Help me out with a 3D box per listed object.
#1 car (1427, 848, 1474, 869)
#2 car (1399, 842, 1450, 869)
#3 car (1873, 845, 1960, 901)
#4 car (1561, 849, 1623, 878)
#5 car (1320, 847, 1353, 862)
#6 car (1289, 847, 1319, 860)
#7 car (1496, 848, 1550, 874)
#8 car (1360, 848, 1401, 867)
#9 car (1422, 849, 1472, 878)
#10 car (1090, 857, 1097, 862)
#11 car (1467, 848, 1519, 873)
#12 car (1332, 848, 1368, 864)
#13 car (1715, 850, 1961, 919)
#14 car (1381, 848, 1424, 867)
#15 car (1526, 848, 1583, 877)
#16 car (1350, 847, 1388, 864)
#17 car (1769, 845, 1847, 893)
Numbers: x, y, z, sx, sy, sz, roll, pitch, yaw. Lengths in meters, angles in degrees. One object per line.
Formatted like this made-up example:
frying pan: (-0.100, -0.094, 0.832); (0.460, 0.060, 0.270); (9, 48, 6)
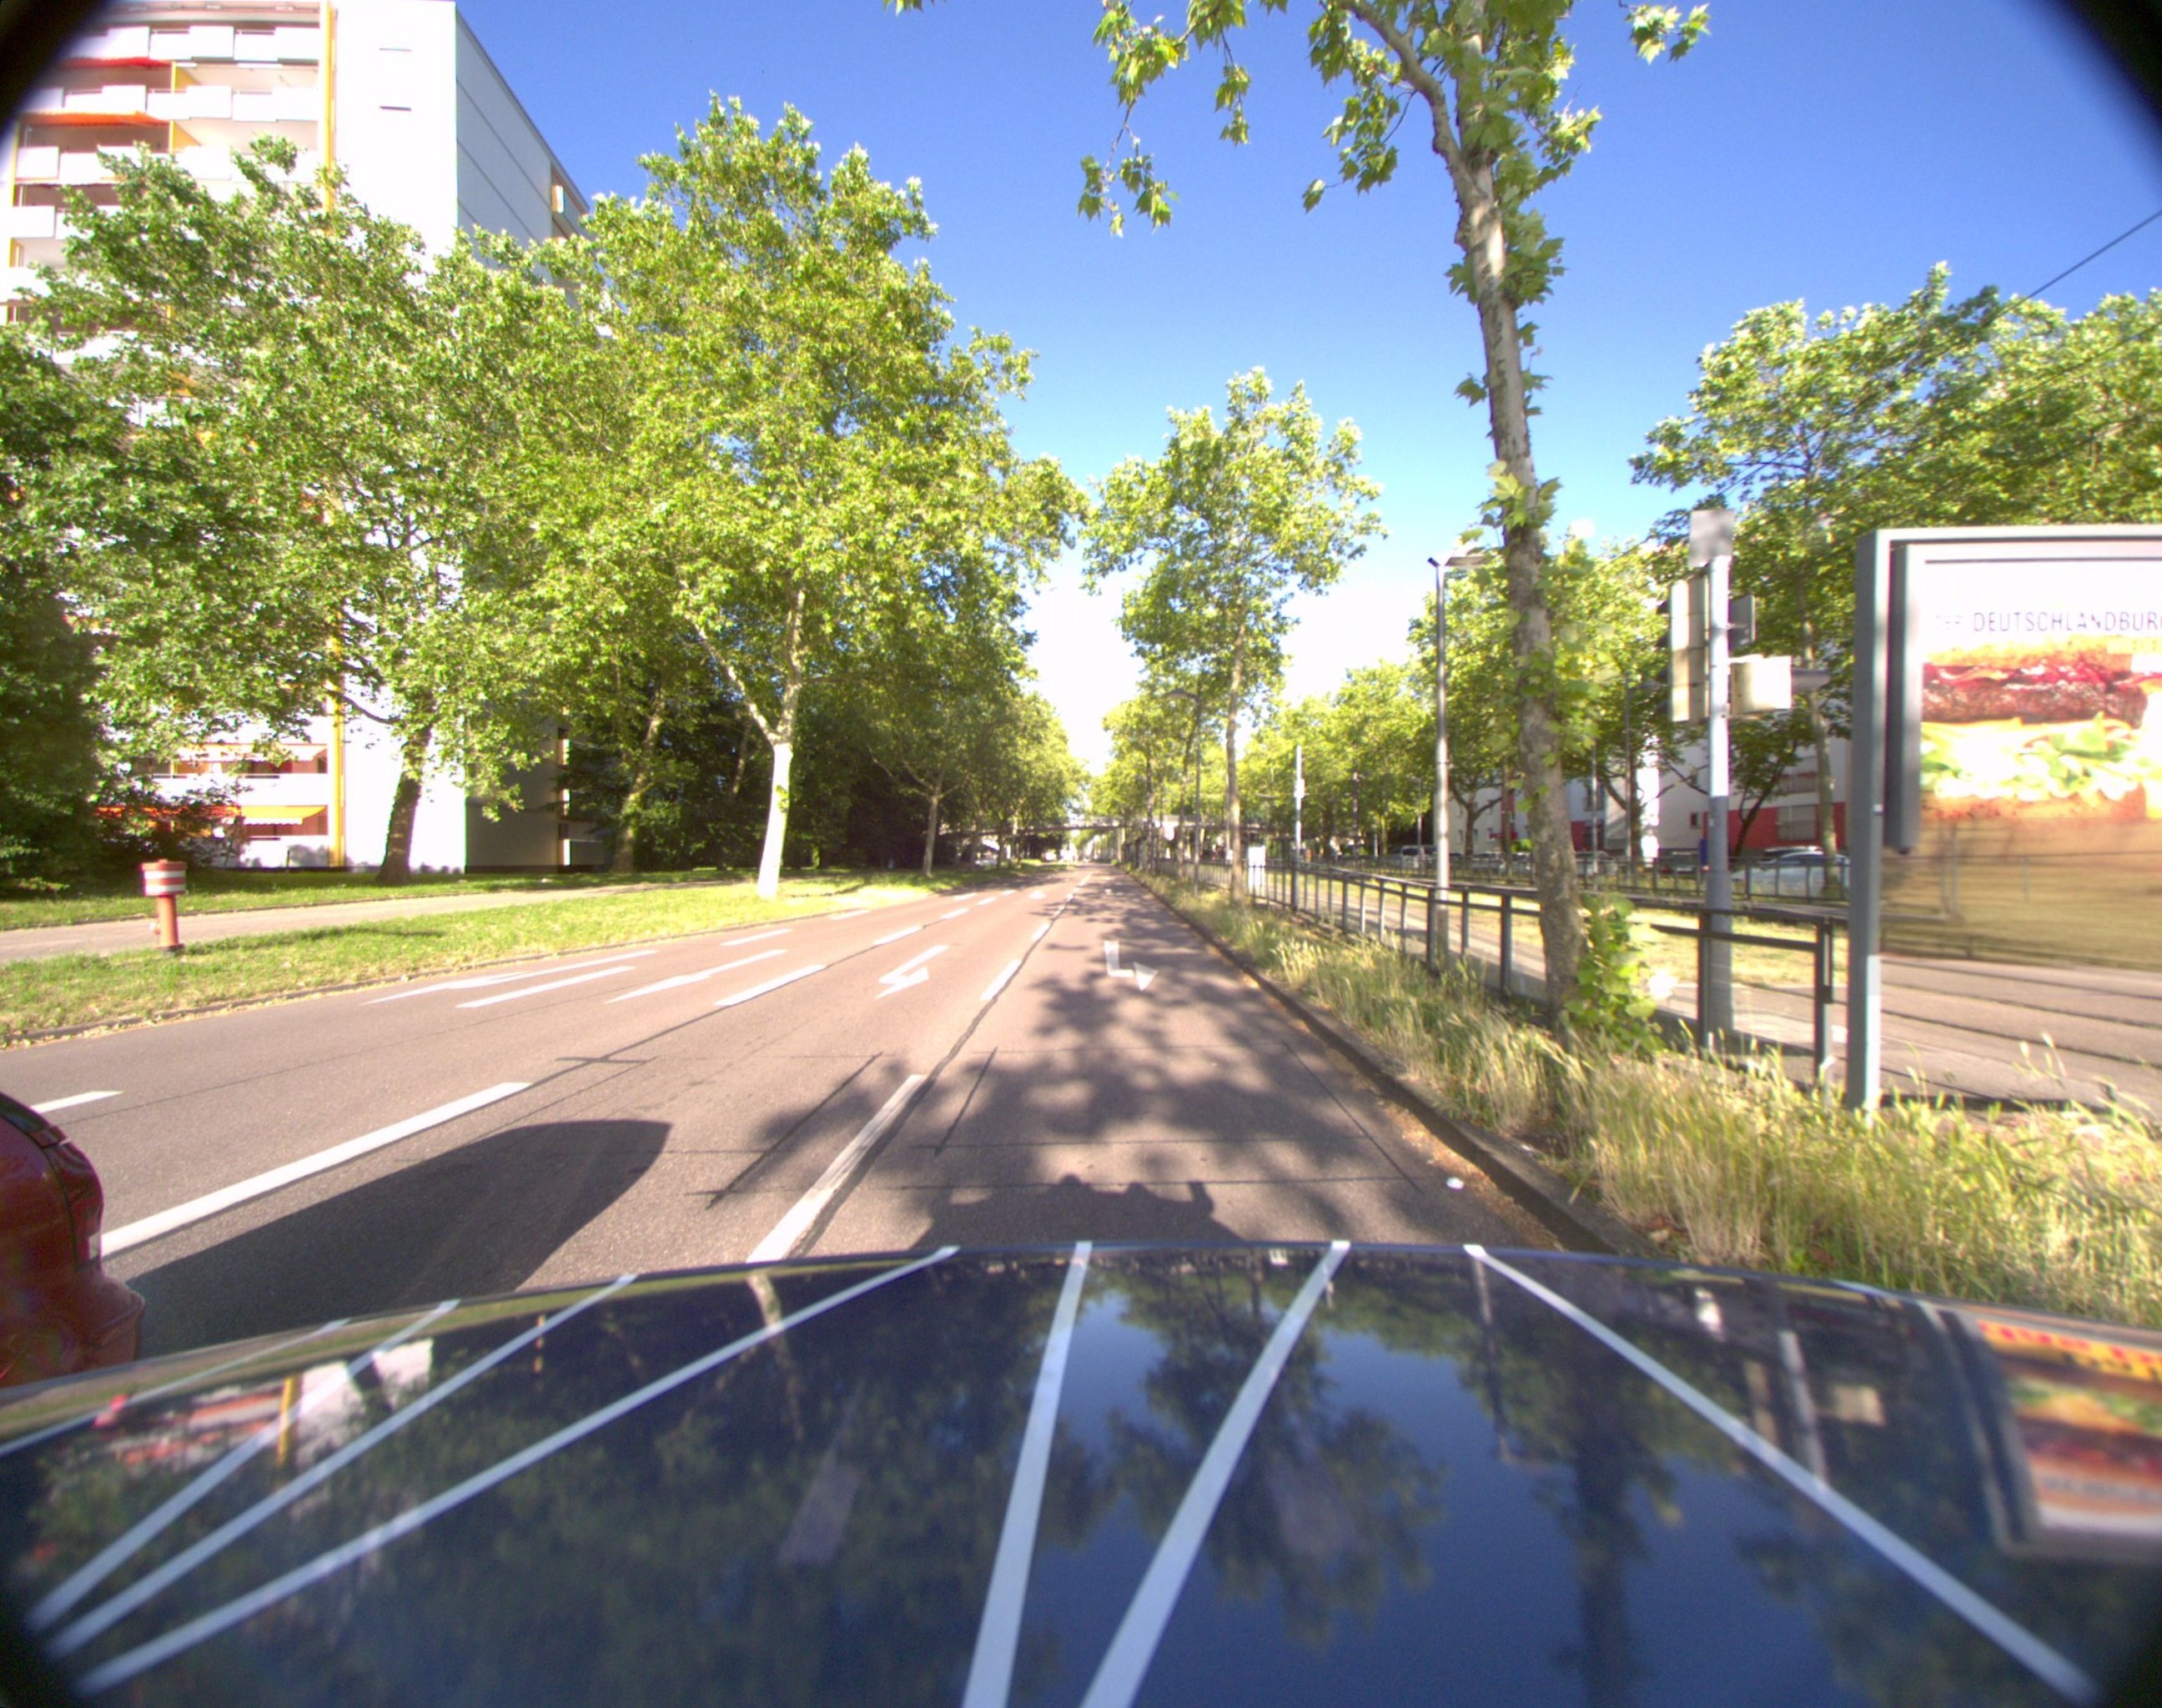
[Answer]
car: (26.306, 0.319, 54.028); (3.811, 1.433, 1.652); (-2, 0, -42)
car: (25.822, 0.098, 57.026); (4.330, 1.863, 1.836); (-2, 0, -42)
car: (25.247, 0.531, 22.962); (3.811, 1.501, 1.652); (-2, 0, -42)
car: (25.386, 0.455, 37.694); (3.811, 1.348, 1.652); (-2, 0, -42)
car: (26.791, 0.056, 79.621); (3.811, 1.433, 1.652); (-2, 0, -42)
car: (26.444, -0.036, 89.971); (3.811, 1.433, 1.652); (-2, 0, -42)
car: (26.102, 0.415, 44.860); (3.811, 1.433, 1.652); (-2, 0, -42)
car: (24.948, 0.281, 63.205); (3.811, 1.433, 1.652); (-2, 0, -42)
car: (20.733, 0.497, 43.178); (1.579, 1.548, 2.817); (-1, 0, 3)
car: (3.333, 1.424, 199.966); (1.580, 1.395, 3.638); (-2, 0, 0)
car: (25.855, 0.406, 47.675); (3.811, 1.433, 1.652); (-2, 0, -42)
car: (26.071, 0.144, 73.561); (3.811, 1.433, 1.652); (-2, 0, -42)
car: (19.076, 0.687, 19.525); (1.655, 1.501, 4.642); (-2, 0, 0)
car: (25.734, 0.279, 60.748); (3.811, 1.433, 1.652); (-2, 0, -42)
car: (25.867, 0.451, 41.475); (3.811, 1.433, 1.652); (-2, 0, -42)
car: (26.624, 0.145, 70.130); (3.811, 1.433, 1.652); (-2, 0, -42)
car: (25.360, 0.496, 26.471); (3.811, 1.501, 1.652); (-2, 0, -42)
